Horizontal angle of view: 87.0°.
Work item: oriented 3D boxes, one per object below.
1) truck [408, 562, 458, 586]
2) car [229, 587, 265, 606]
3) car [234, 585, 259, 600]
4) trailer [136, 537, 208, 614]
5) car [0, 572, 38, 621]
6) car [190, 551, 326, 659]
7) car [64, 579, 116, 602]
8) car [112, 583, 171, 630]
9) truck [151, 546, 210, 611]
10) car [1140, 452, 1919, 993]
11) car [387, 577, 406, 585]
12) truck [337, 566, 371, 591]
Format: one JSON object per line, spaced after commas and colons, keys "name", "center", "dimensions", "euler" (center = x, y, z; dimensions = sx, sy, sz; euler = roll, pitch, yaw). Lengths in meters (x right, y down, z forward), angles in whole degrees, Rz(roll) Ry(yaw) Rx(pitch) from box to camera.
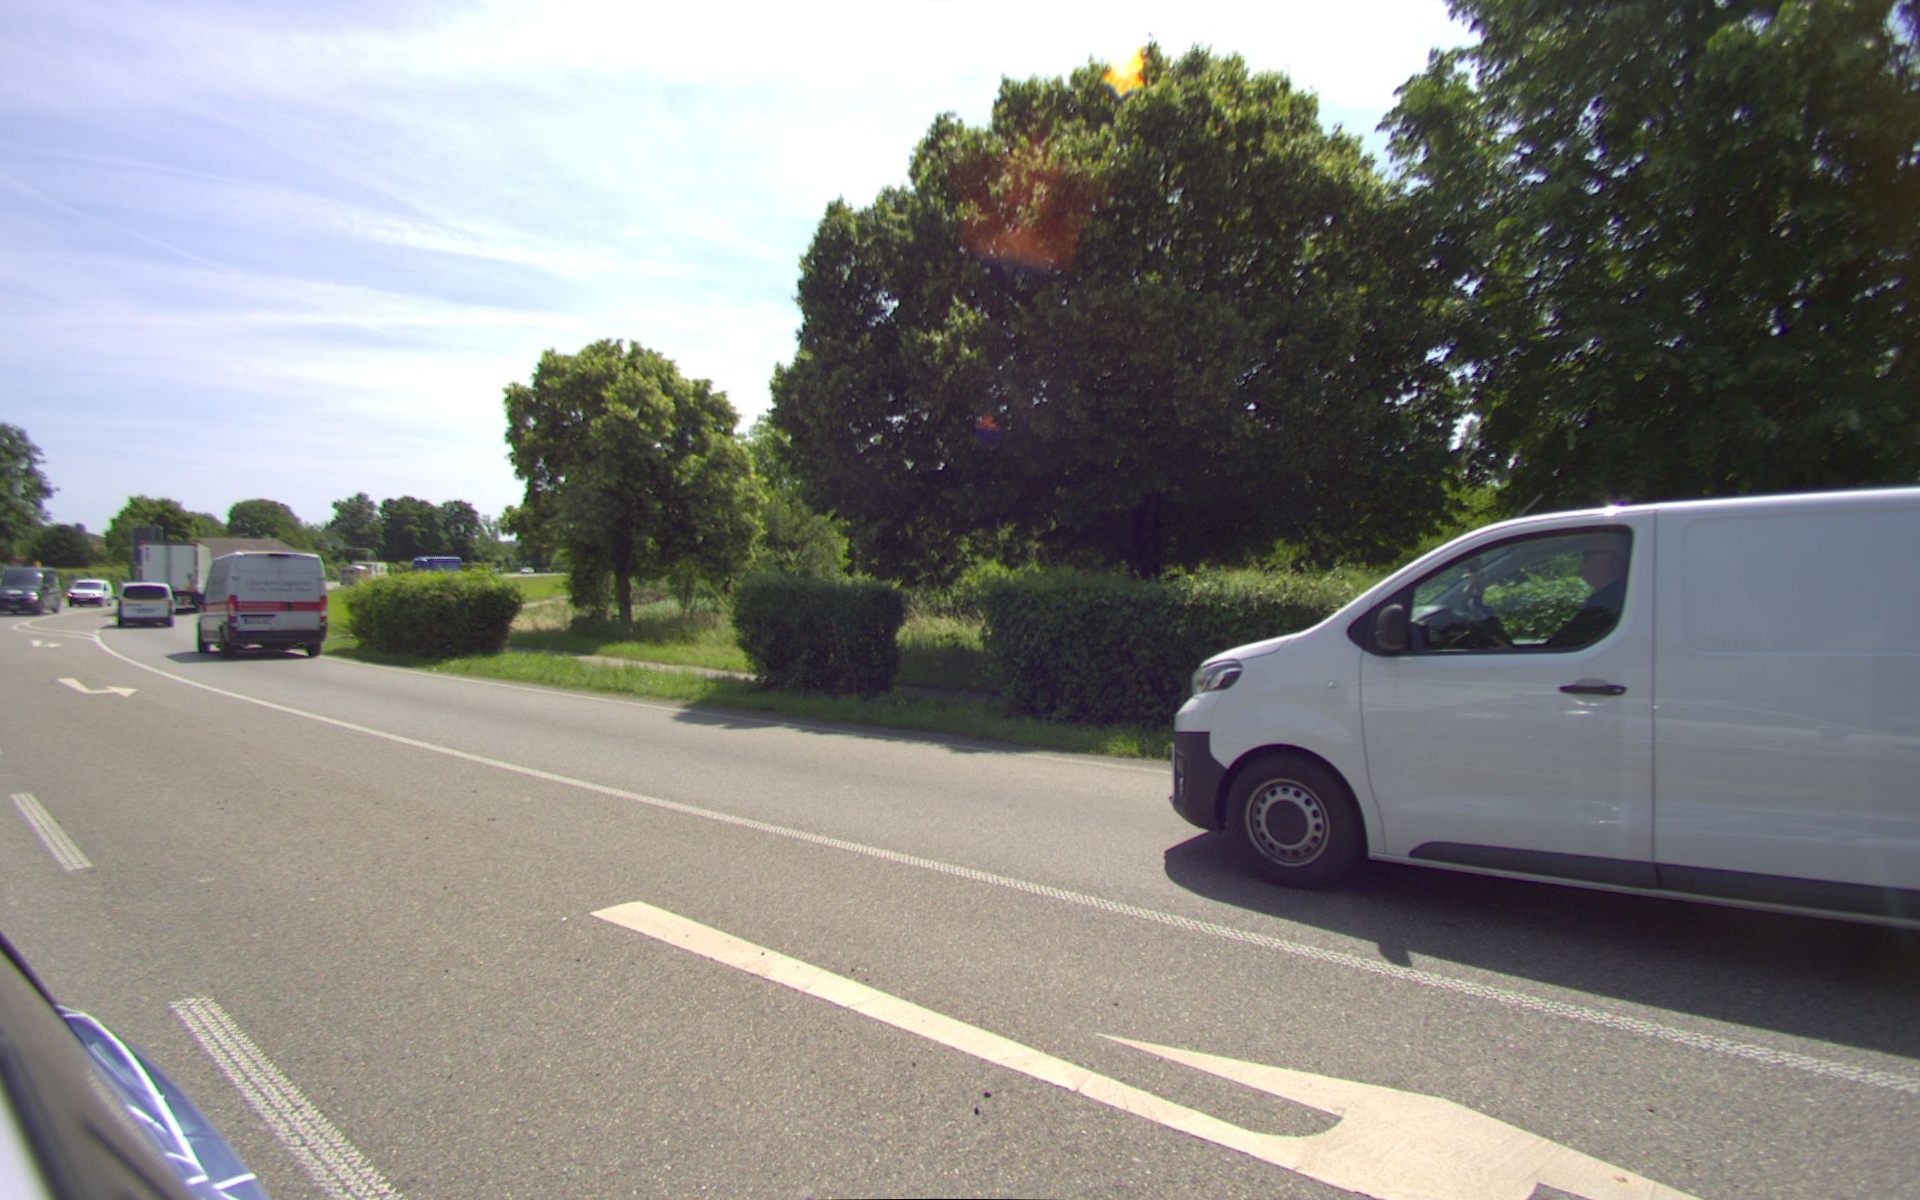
{"name": "truck", "center": [-103.314, -5.134, 198.741], "dimensions": [2.704, 4.643, 16.181], "euler": [0, 1, -5]}
{"name": "car", "center": [-63.703, -0.344, 90.496], "dimensions": [1.593, 1.570, 4.013], "euler": [0, 1, -20]}
{"name": "car", "center": [-87.730, -0.891, 124.460], "dimensions": [1.779, 1.746, 4.013], "euler": [-1, 0, -24]}
{"name": "trailer", "center": [-46.806, -1.380, 60.377], "dimensions": [2.741, 4.133, 11.690], "euler": [2, -1, -35]}
{"name": "car", "center": [-50.197, -0.217, 53.432], "dimensions": [1.950, 2.538, 4.166], "euler": [0, 1, -39]}
{"name": "car", "center": [-17.913, 0.143, 25.718], "dimensions": [2.027, 2.470, 5.273], "euler": [1, -1, -44]}
{"name": "car", "center": [-58.938, -0.642, 68.599], "dimensions": [1.753, 1.504, 4.171], "euler": [0, 1, -27]}
{"name": "car", "center": [-35.158, 0.256, 43.432], "dimensions": [1.850, 1.879, 5.149], "euler": [0, 0, -40]}
{"name": "truck", "center": [-50.352, -1.356, 65.488], "dimensions": [2.741, 3.973, 5.719], "euler": [2, -1, -36]}
{"name": "car", "center": [3.475, 0.434, 4.651], "dimensions": [4.944, 1.900, 1.853], "euler": [0, 0, 38]}
{"name": "car", "center": [-104.980, -3.601, 188.549], "dimensions": [1.756, 1.504, 4.166], "euler": [0, 1, -9]}
{"name": "truck", "center": [-87.657, -3.108, 146.501], "dimensions": [2.927, 3.596, 6.921], "euler": [0, 1, -19]}
